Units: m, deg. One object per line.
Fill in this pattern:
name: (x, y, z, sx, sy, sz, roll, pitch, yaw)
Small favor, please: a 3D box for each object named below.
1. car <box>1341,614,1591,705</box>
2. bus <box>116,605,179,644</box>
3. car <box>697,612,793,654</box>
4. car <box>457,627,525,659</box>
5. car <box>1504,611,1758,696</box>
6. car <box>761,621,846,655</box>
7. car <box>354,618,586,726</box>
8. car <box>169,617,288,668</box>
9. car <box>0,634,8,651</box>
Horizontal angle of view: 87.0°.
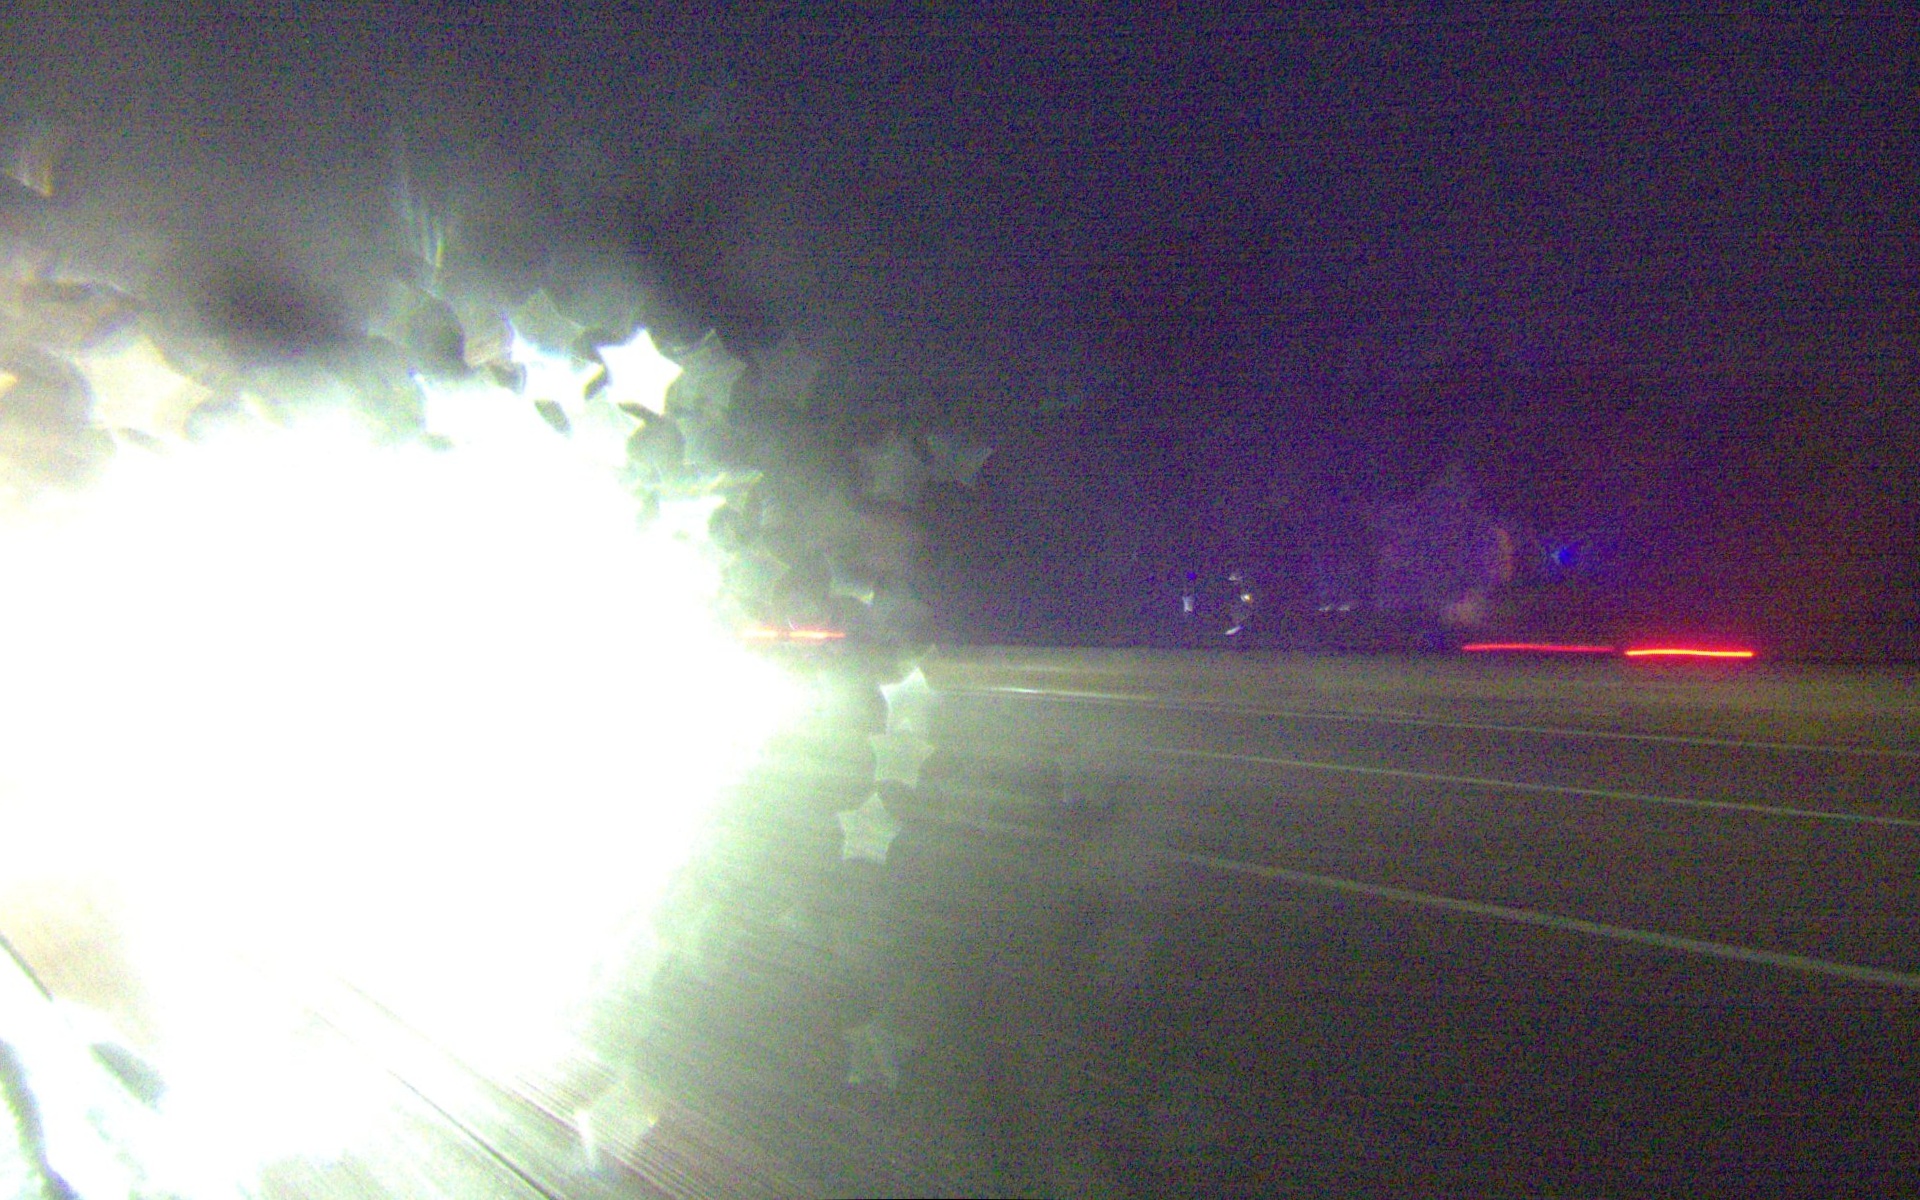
car: (10.886, 1.191, 21.956, 4.559, 1.734, 1.861, -1, 0, 40)
bus: (-99.412, 2.935, 123.639, 16.538, 4.482, 3.335, -1, 0, 42)
car: (-9.576, 1.398, 44.917, 4.562, 1.734, 1.860, -1, 0, 42)
car: (-28.376, 2.569, 61.194, 4.558, 1.734, 1.862, -1, 0, 39)
car: (15.231, 1.129, 23.161, 1.858, 1.734, 4.566, -1, 0, -45)
car: (-7.417, 1.770, 47.842, 3.892, 1.444, 1.861, -1, 0, 40)
car: (-7.917, 1.043, 16.211, 3.999, 1.452, 1.973, -1, 0, 42)
car: (-23.956, 1.339, 33.069, 5.161, 1.487, 1.973, -1, 0, 40)
car: (-92.683, 4.070, 96.782, 4.587, 1.572, 1.972, -1, 0, 42)
